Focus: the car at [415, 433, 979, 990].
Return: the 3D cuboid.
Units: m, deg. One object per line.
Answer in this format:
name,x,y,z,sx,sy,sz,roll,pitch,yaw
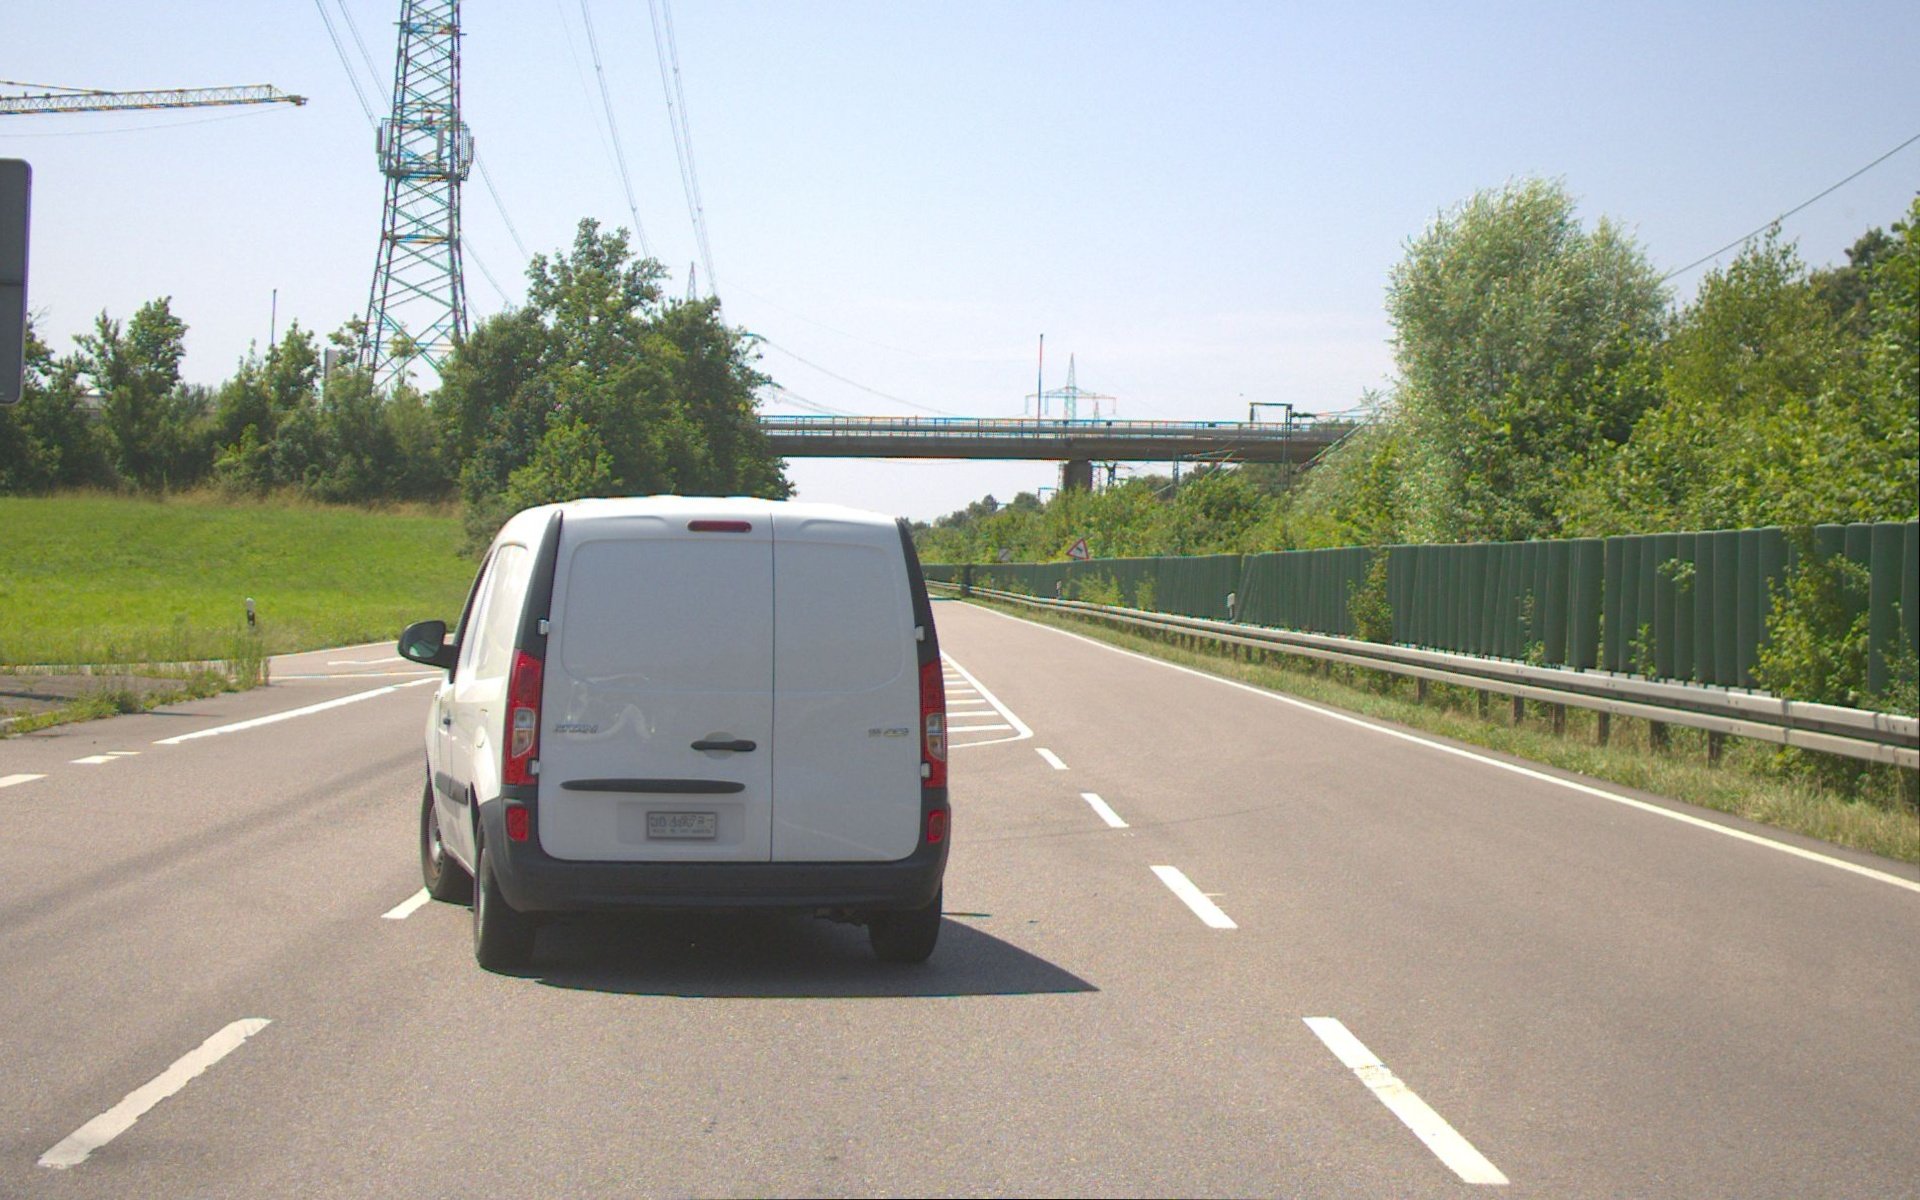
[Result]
car,-1.238,0.378,14.270,1.826,1.964,4.001,1,1,-12
